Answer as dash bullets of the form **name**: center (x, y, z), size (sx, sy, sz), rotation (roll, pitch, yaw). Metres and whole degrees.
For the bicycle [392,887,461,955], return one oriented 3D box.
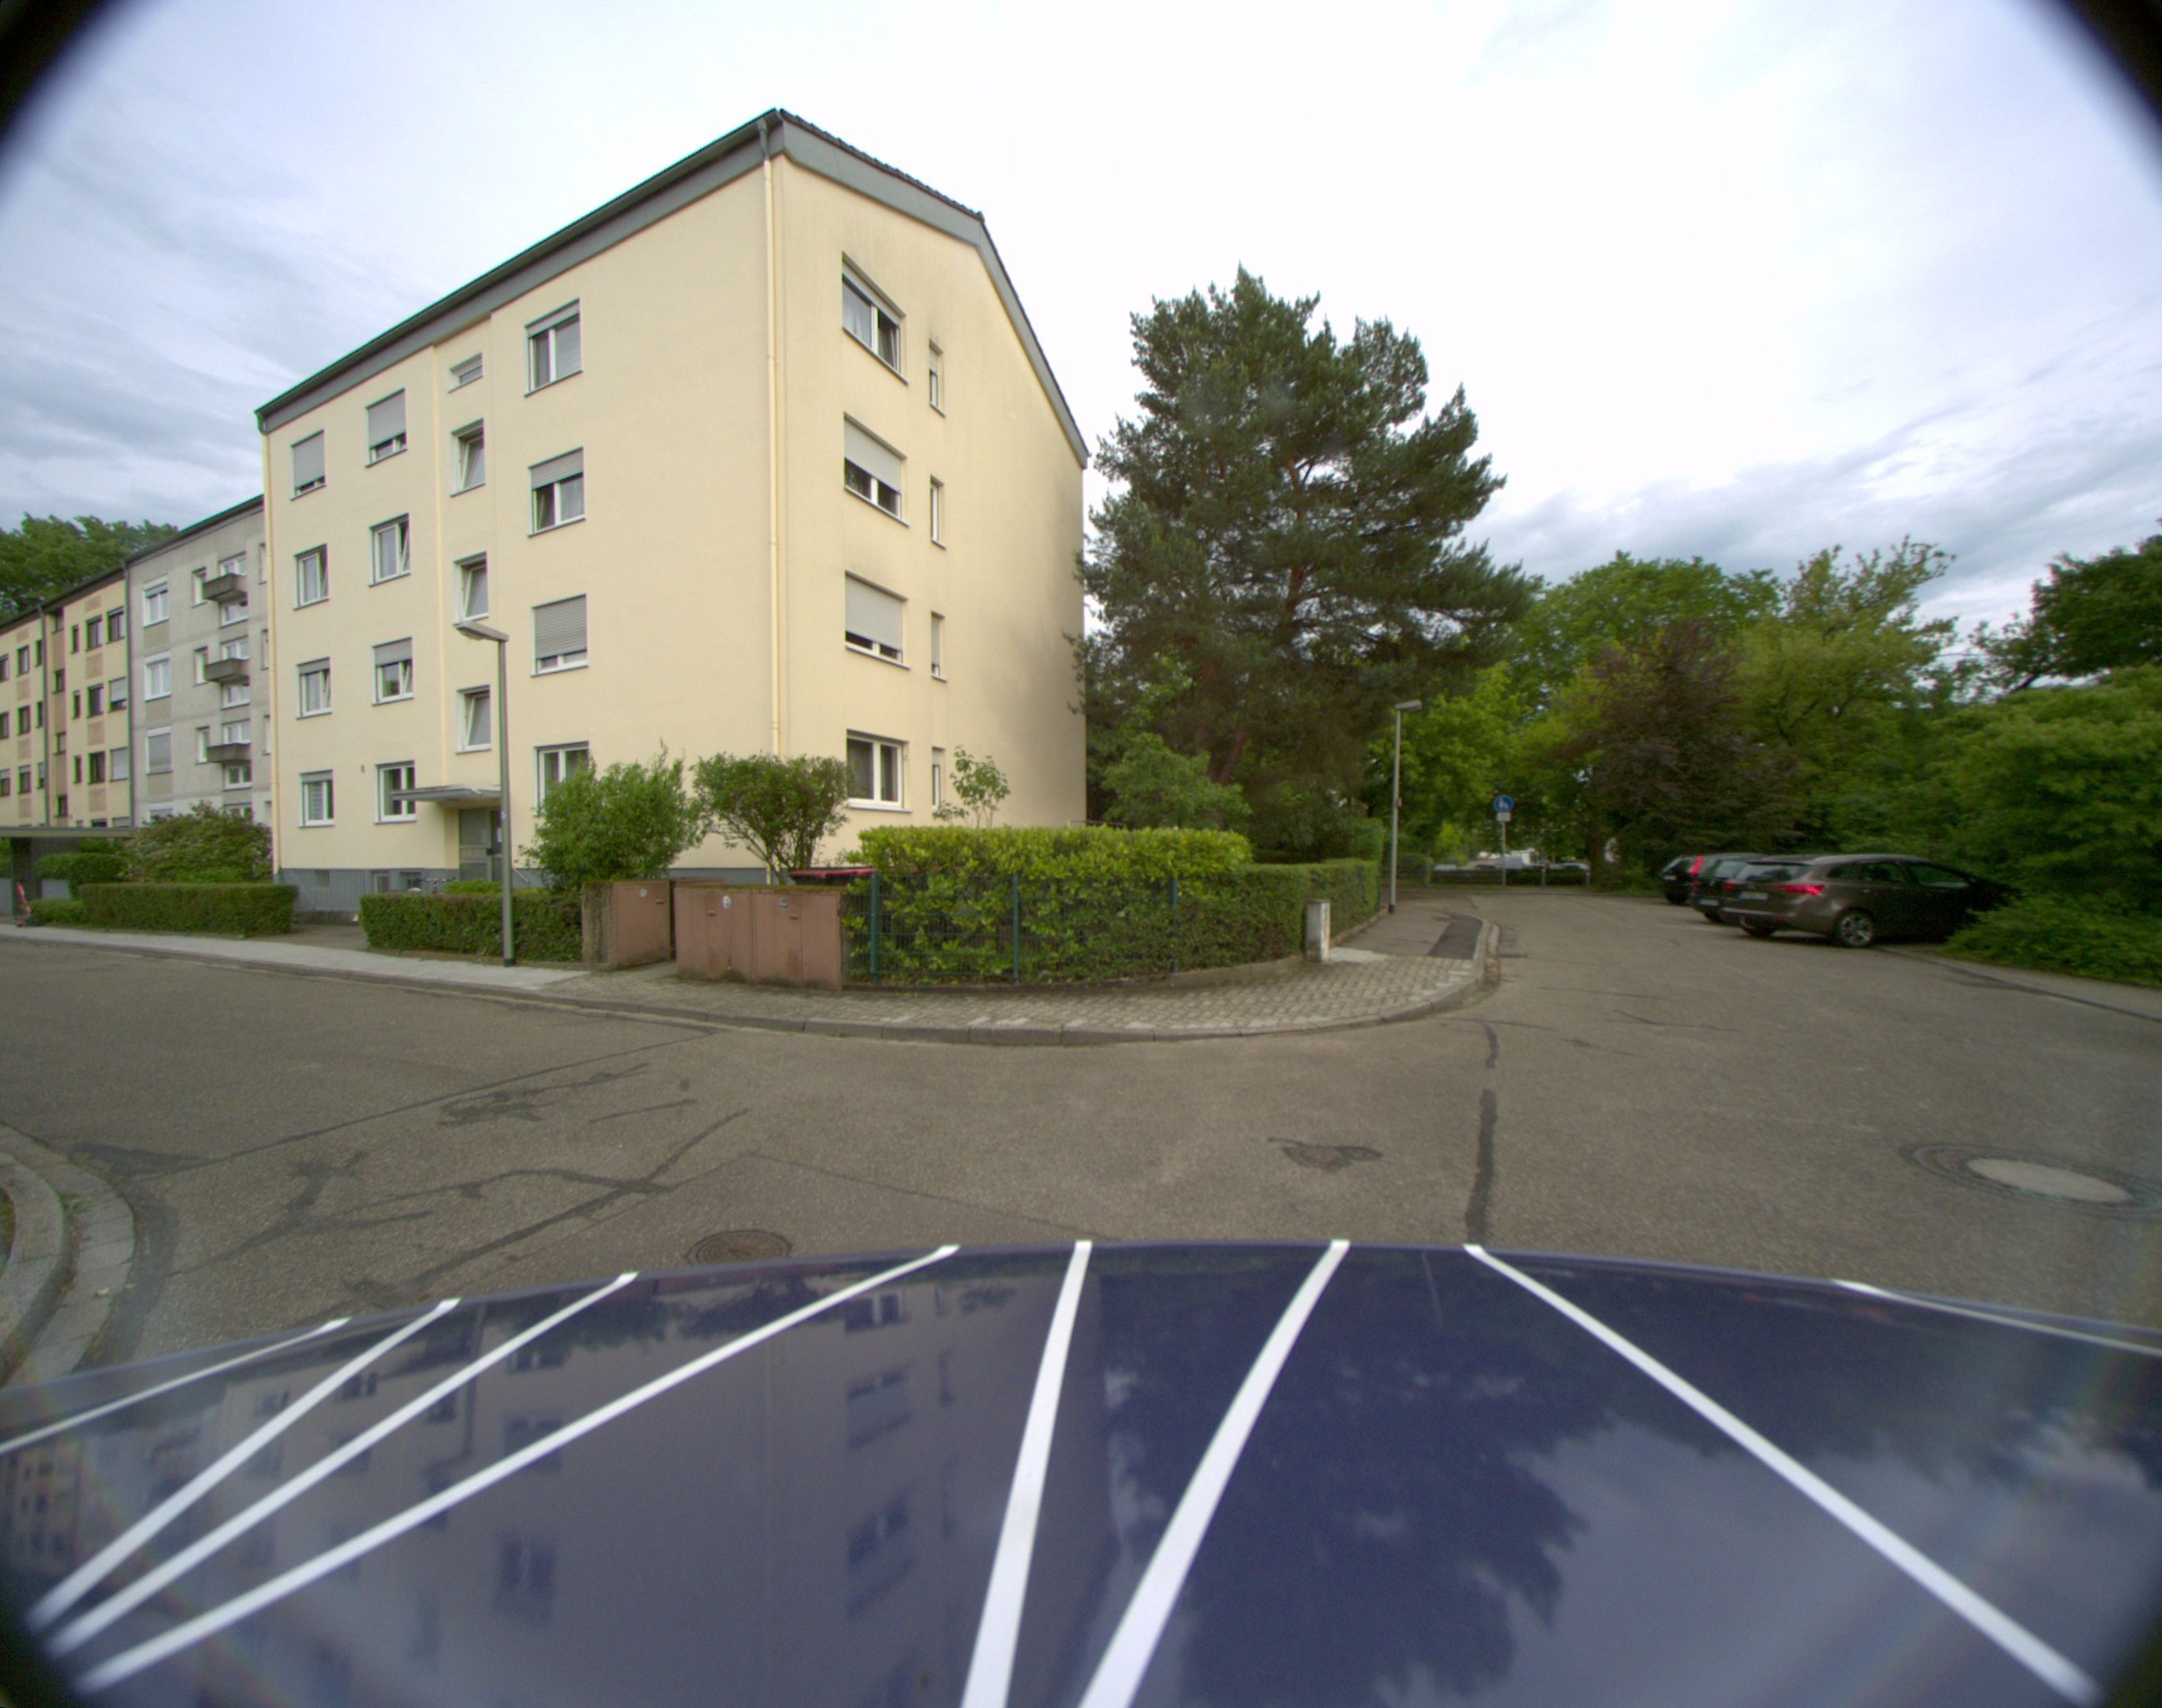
- **bicycle**: center (-11.067, 1.114, 12.838), size (1.414, 1.069, 0.319), rotation (0, 2, 26)

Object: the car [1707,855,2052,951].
- **car**: center (13.293, 0.778, 12.837), size (3.997, 1.482, 1.701), rotation (0, 1, 0)

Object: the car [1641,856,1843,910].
- **car**: center (17.828, 0.746, 20.629), size (3.997, 1.367, 1.701), rotation (0, 1, 0)

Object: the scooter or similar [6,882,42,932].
- **scooter or similar**: center (-26.022, 1.287, 18.699), size (1.161, 1.204, 0.274), rotation (-1, 0, 25)

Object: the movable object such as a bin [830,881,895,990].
- **movable object such as a bin**: center (-2.501, 0.911, 8.718), size (0.514, 1.180, 0.508), rotation (0, 0, 24)

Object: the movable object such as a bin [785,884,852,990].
- **movable object such as a bin**: center (-3.086, 0.954, 8.943), size (0.514, 1.181, 0.507), rotation (-1, 1, 24)

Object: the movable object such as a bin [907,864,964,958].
- **movable object such as a bin**: center (-1.857, 0.711, 9.735), size (0.514, 1.158, 0.508), rotation (0, 0, 24)

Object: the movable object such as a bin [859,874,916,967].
- **movable object such as a bin**: center (-2.554, 0.860, 10.045), size (0.514, 1.180, 0.508), rotation (0, 0, 24)

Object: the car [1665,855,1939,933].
- **car**: center (14.679, 0.780, 15.634), size (3.997, 1.482, 1.701), rotation (0, 1, 0)
